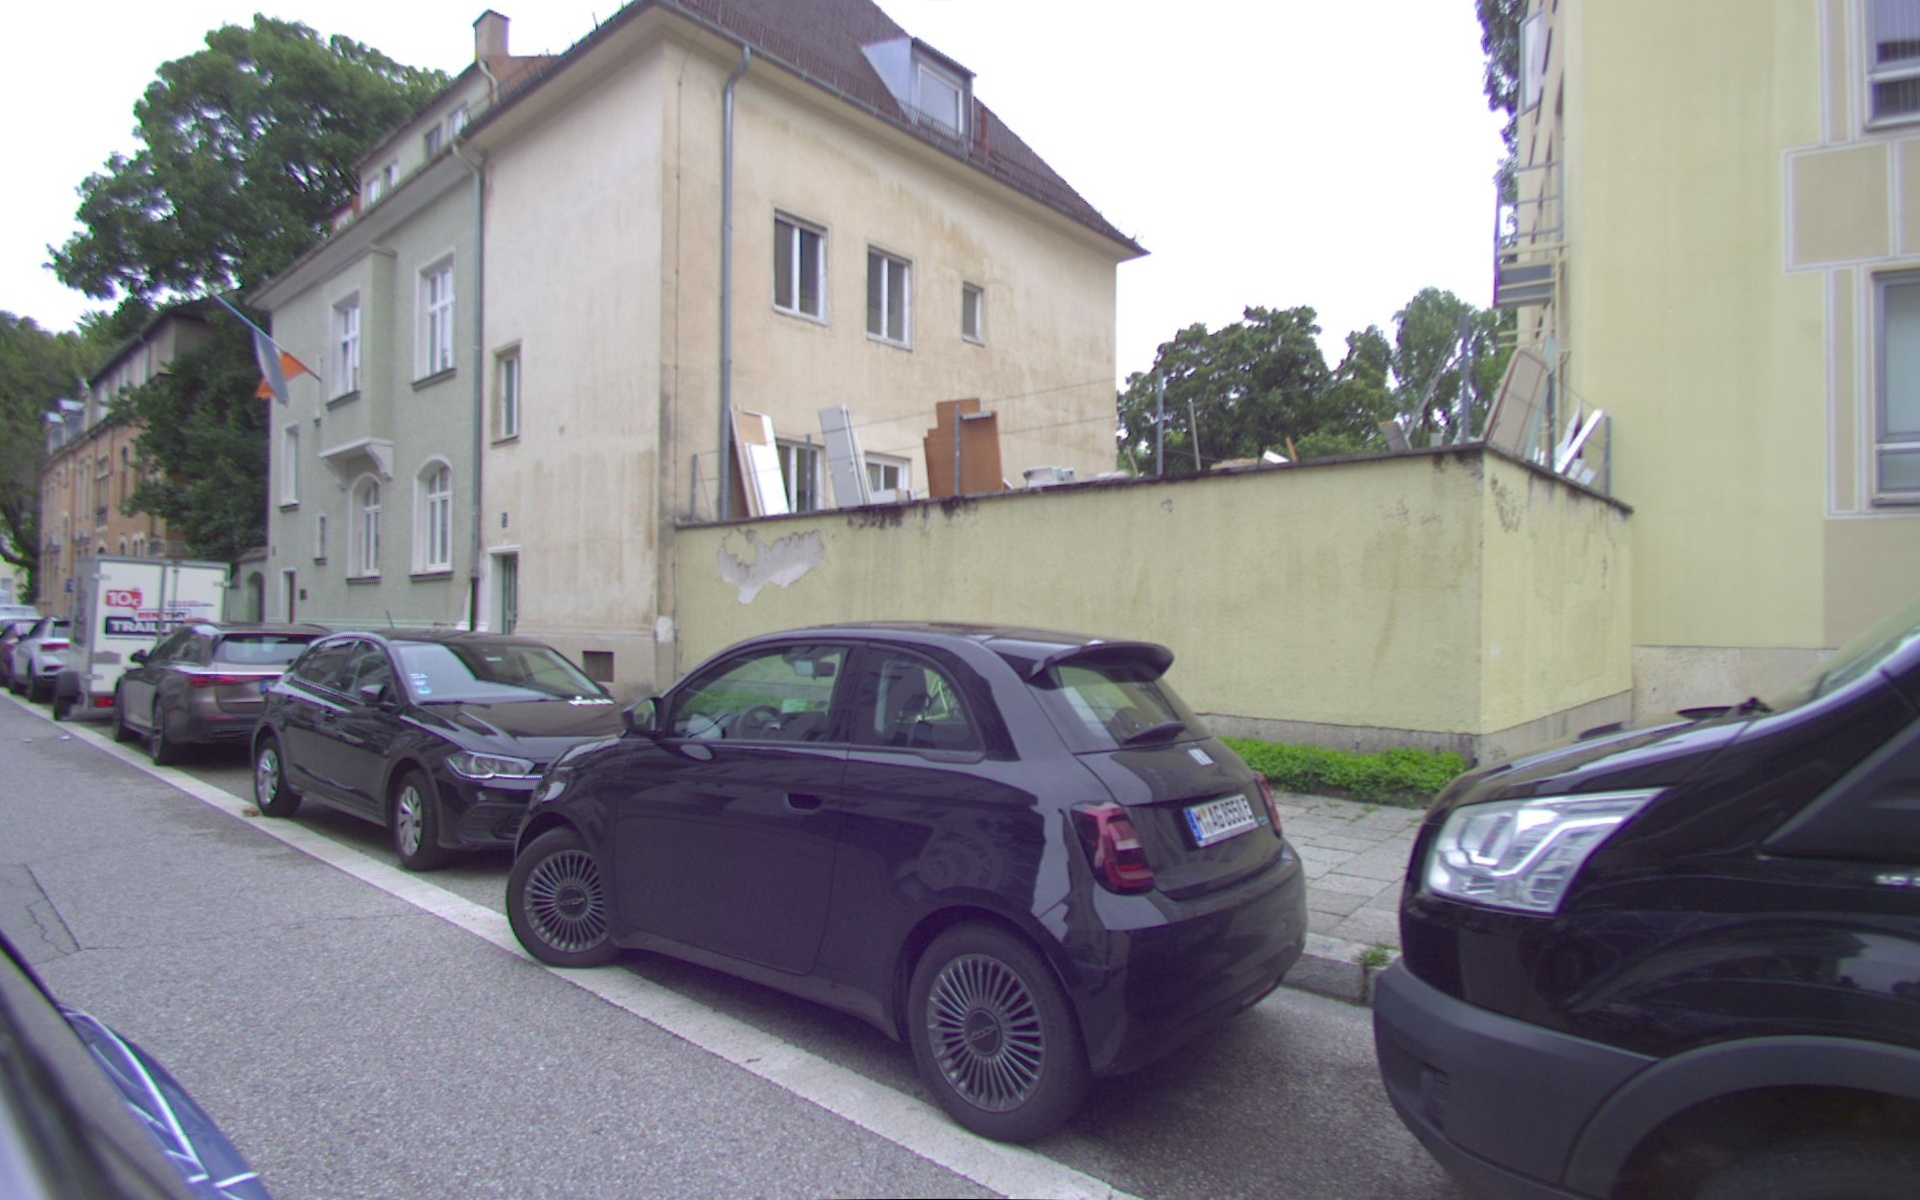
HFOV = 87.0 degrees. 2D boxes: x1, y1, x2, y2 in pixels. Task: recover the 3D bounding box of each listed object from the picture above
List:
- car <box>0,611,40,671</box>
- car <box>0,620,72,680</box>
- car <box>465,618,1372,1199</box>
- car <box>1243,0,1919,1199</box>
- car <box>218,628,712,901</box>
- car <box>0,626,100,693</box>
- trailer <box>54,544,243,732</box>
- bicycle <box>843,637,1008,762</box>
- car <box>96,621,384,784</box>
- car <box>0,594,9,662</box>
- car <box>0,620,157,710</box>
[{"bbox_3d":[-29.315,1.208,30.632,3.648,1.747,1.794,-1,-2,42],"label":"car"},{"bbox_3d":[-24.779,1.249,26.480,3.925,1.463,1.794,-1,-1,41],"label":"car"},{"bbox_3d":[-0.330,0.831,4.195,3.483,1.505,1.686,-1,-1,36],"label":"car"},{"bbox_3d":[3.466,0.154,1.183,5.652,2.666,2.272,-1,-3,43],"label":"car"},{"bbox_3d":[-3.780,0.952,7.422,4.066,1.436,1.676,-1,-2,39],"label":"car"},{"bbox_3d":[-20.668,1.264,22.599,3.746,1.357,1.793,-1,-2,43],"label":"car"},{"bbox_3d":[-12.571,0.604,15.614,1.792,2.555,3.391,6,-5,-44],"label":"trailer"},{"bbox_3d":[-0.378,0.968,10.321,1.741,1.140,0.573,-1,-2,40],"label":"bicycle"},{"bbox_3d":[-8.480,1.018,11.734,4.643,1.511,1.793,-1,-3,43],"label":"car"},{"bbox_3d":[-36.904,1.040,37.552,4.550,2.451,2.076,-1,-2,43],"label":"car"},{"bbox_3d":[-16.720,1.163,19.140,3.841,1.525,1.744,-1,-3,42],"label":"car"}]
